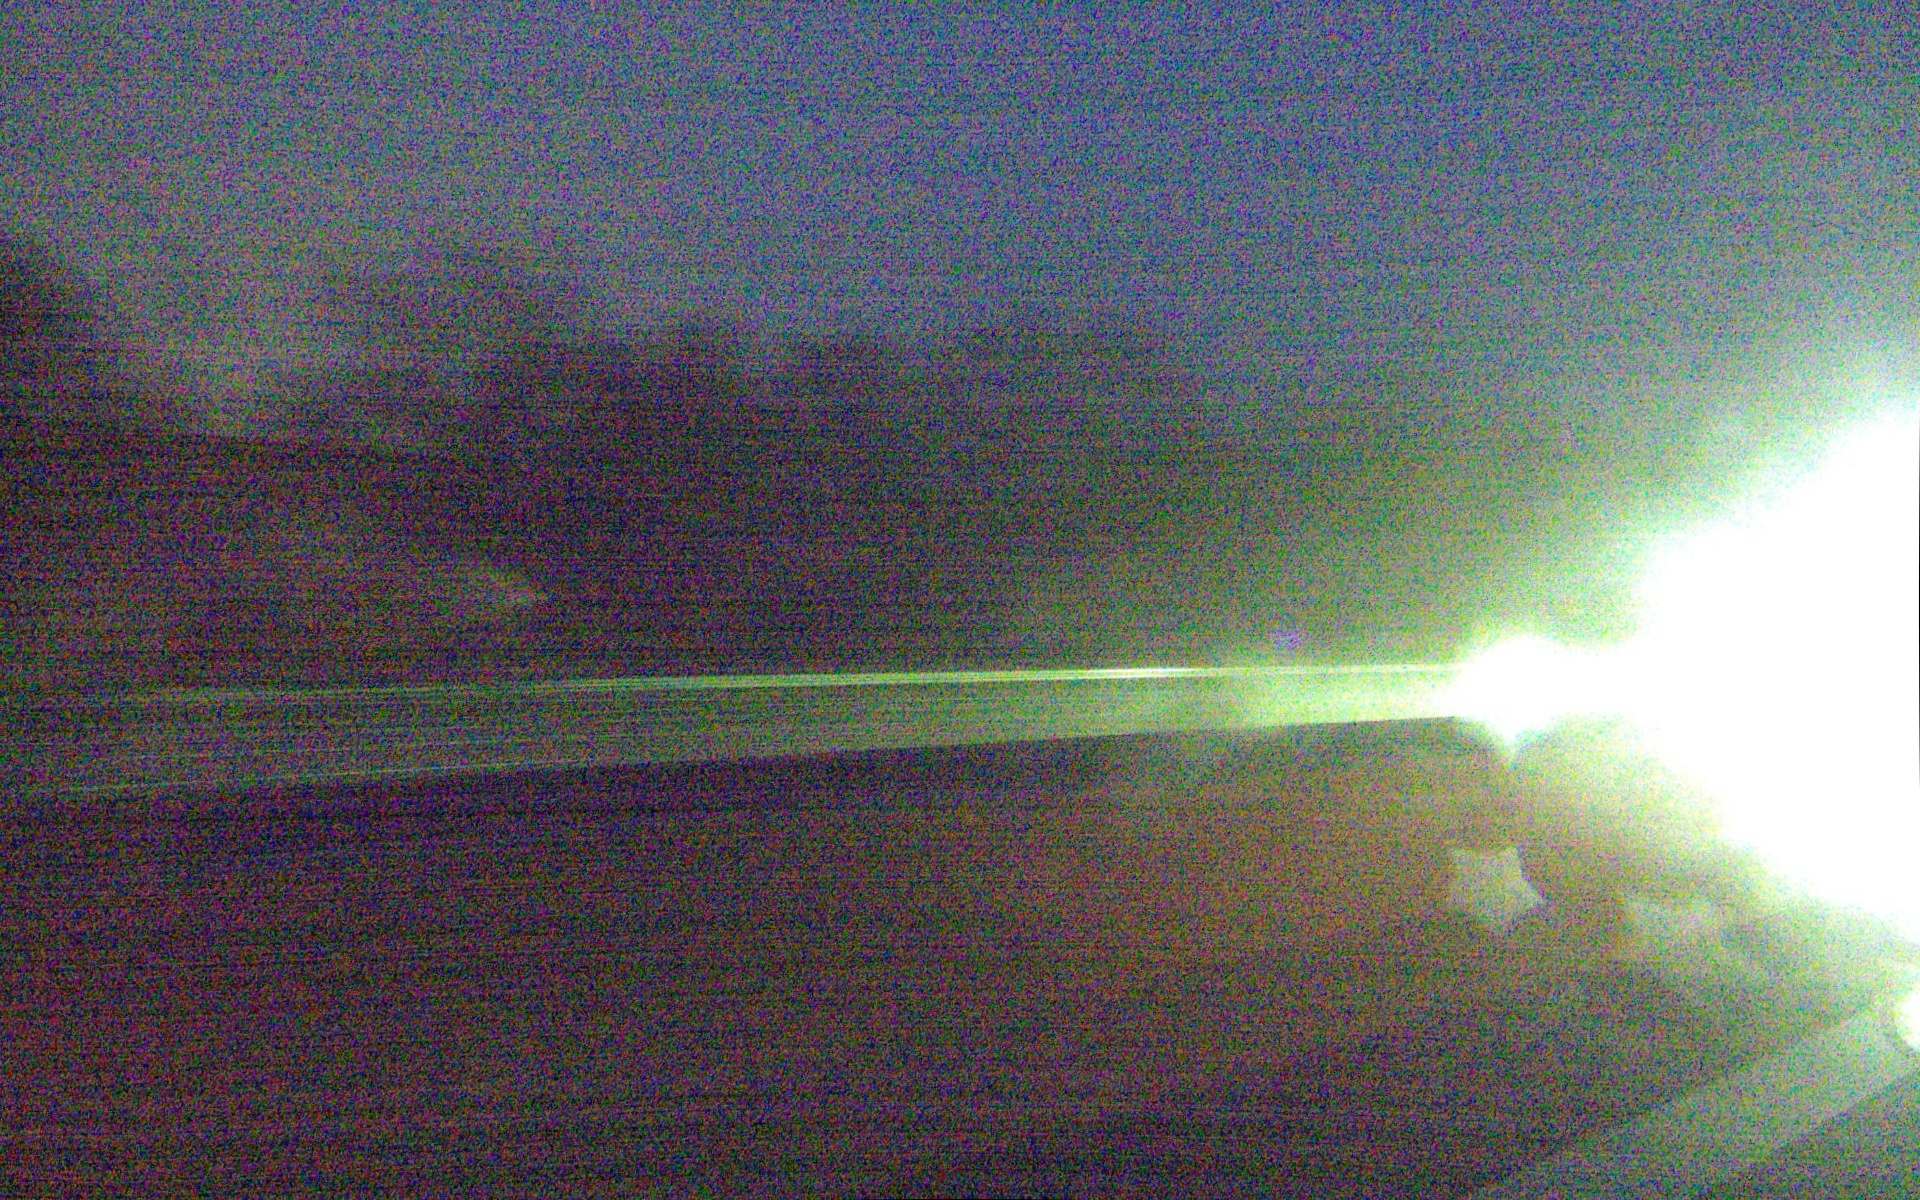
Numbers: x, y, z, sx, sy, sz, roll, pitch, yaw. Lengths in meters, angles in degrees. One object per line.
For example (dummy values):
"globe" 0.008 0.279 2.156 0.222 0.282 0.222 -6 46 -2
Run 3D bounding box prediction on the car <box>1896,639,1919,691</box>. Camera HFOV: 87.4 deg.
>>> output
"car" 33.238 2.134 33.249 4.752 1.685 1.985 2 -2 -30
